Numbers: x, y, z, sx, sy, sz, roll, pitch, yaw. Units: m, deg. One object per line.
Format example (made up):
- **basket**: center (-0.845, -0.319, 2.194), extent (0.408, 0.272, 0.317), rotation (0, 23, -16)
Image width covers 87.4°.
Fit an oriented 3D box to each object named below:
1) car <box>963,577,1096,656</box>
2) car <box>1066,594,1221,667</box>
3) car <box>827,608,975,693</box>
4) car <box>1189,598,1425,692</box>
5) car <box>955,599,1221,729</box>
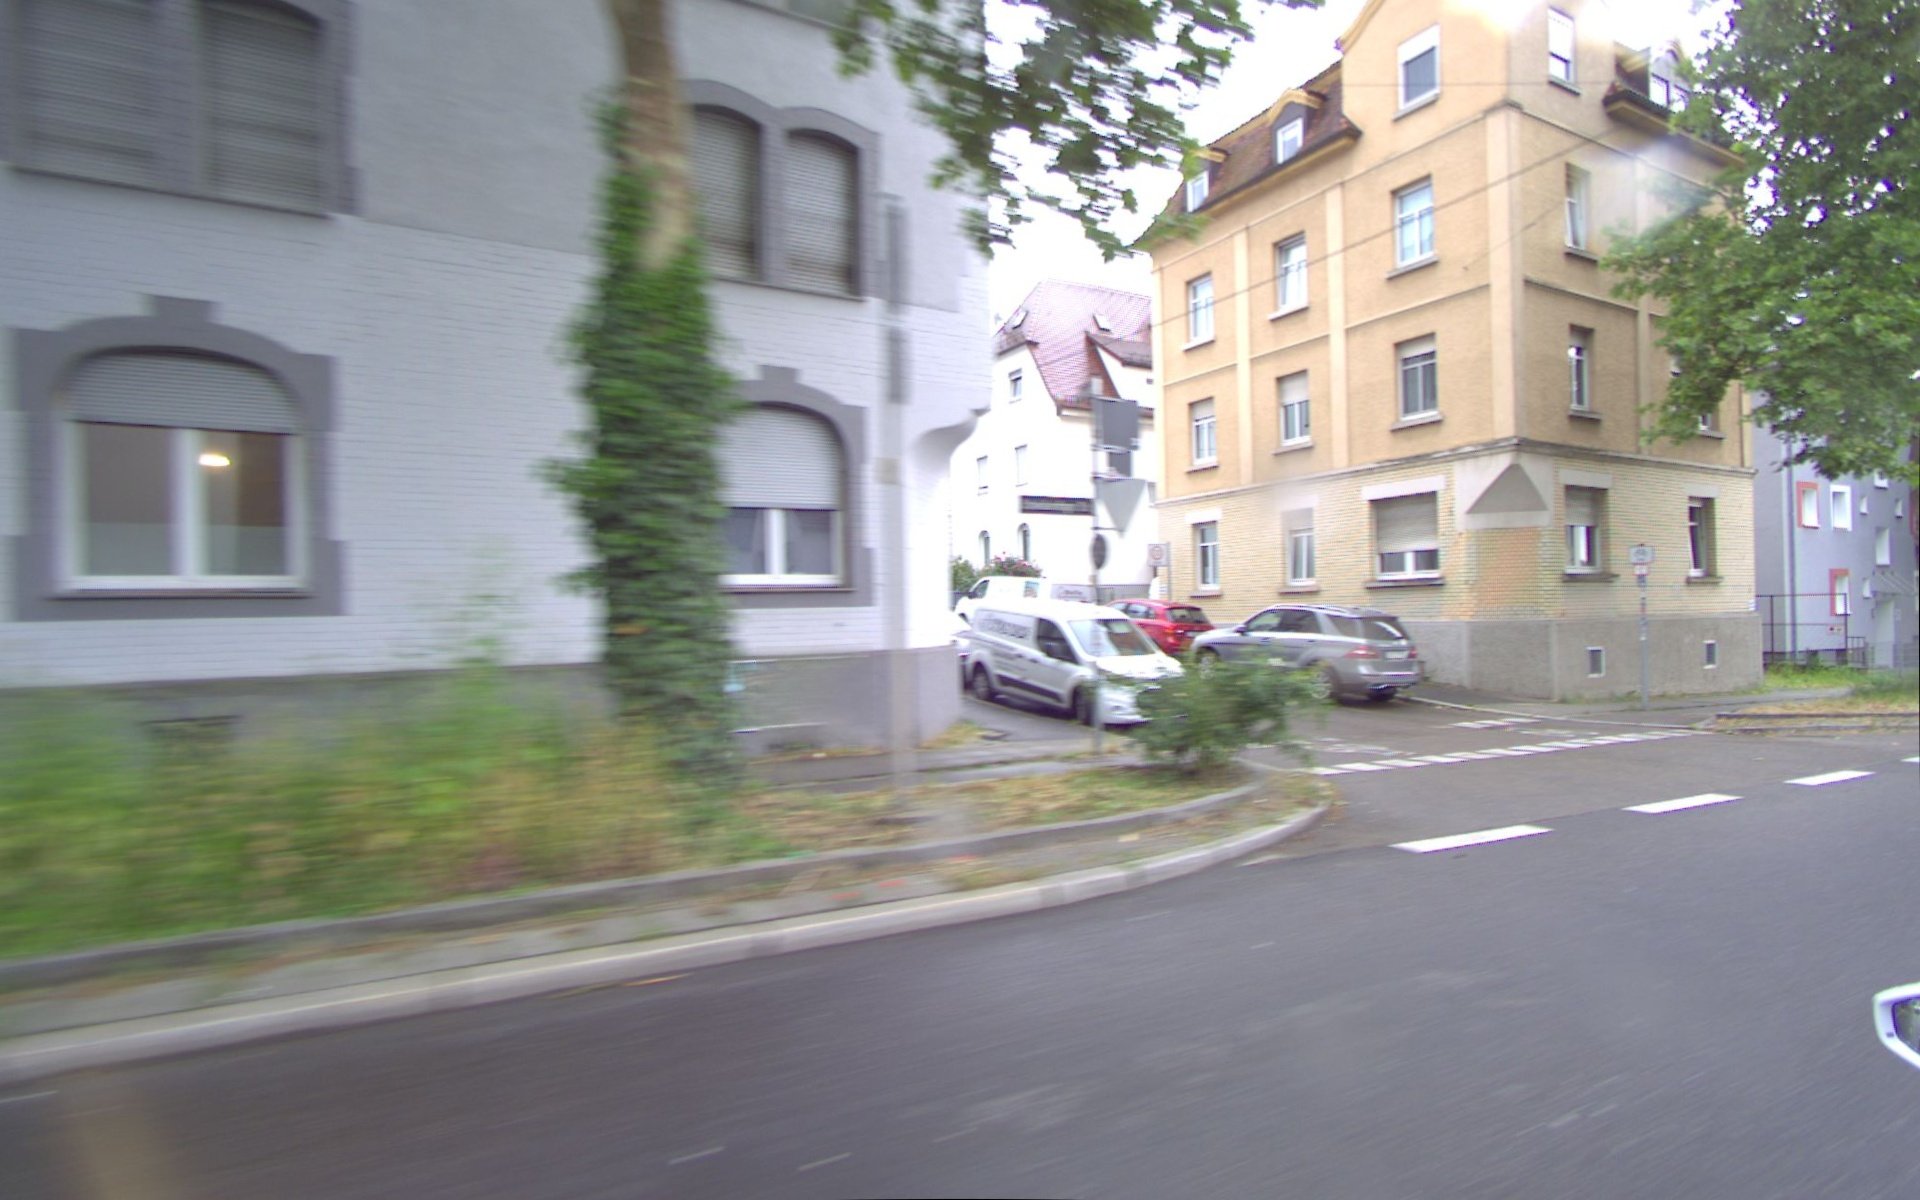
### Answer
- **car**: center (1.898, 0.424, 28.727), extent (1.785, 1.959, 4.011), rotation (2, 2, -30)
- **car**: center (4.381, 0.686, 24.504), extent (1.622, 1.538, 3.804), rotation (1, 1, -30)
- **car**: center (-1.433, 1.063, 22.719), extent (1.772, 1.507, 3.968), rotation (1, 2, -30)
- **car**: center (6.780, 0.821, 20.037), extent (2.021, 1.633, 4.092), rotation (2, 0, -32)
- **car**: center (1.934, 0.927, 16.752), extent (1.997, 1.802, 4.648), rotation (1, 0, -30)
